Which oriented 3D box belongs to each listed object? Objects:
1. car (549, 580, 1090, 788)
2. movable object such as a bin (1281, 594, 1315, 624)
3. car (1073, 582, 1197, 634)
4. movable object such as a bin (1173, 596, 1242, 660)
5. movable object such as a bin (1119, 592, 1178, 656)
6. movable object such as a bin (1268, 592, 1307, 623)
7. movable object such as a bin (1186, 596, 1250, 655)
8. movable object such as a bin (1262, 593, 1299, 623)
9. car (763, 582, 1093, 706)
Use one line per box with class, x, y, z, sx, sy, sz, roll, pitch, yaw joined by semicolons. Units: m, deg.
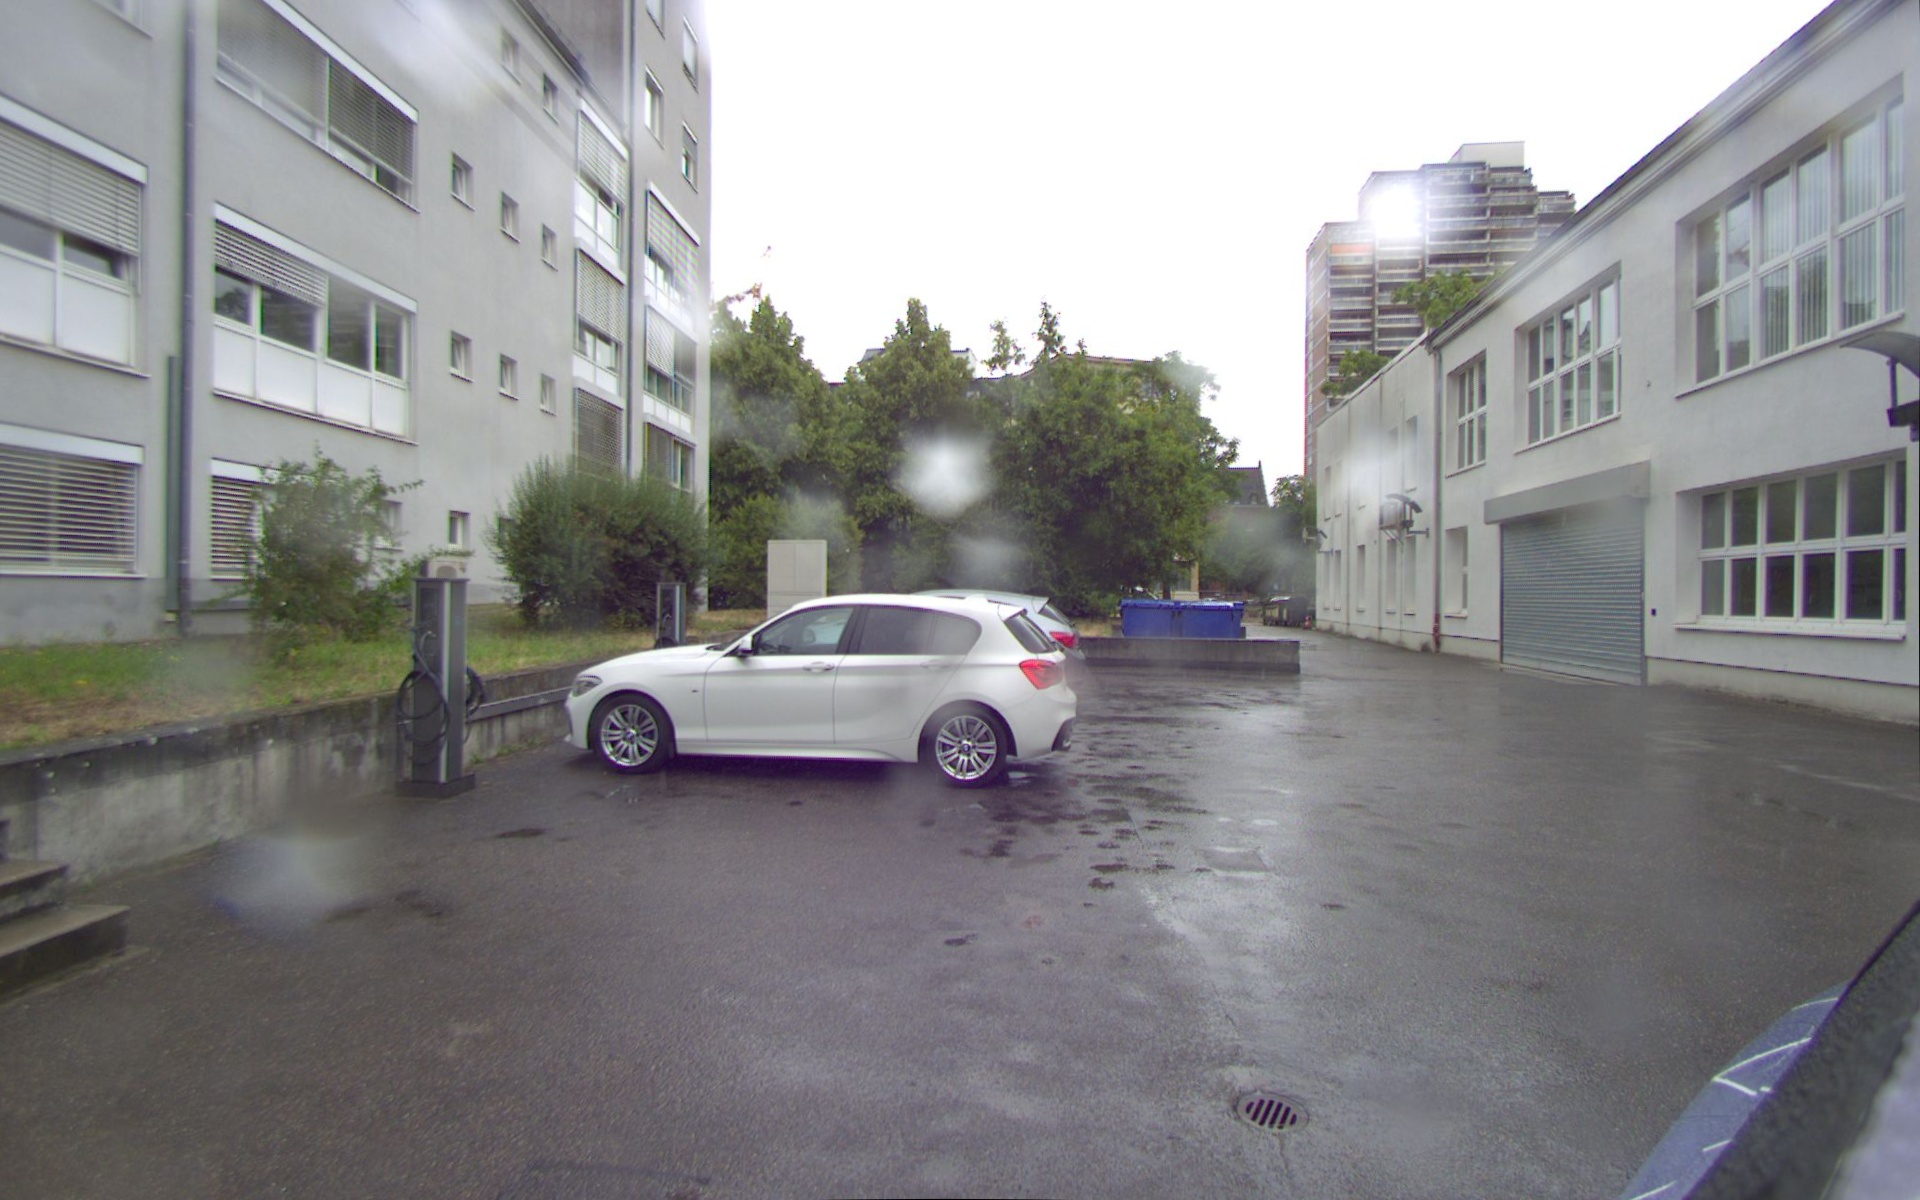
car;-1.030;0.618;8.632;4.146;1.508;1.997;0;0;5
movable object such as a bin;15.867;0.420;47.512;1.167;1.392;1.312;-1;-2;4
car;6.822;0.355;39.639;4.623;1.906;2.115;-1;-3;11
movable object such as a bin;5.562;0.635;22.911;1.292;1.375;1.900;-1;-2;8
movable object such as a bin;4.278;0.558;23.115;1.213;1.375;1.965;-1;-2;8
movable object such as a bin;15.865;0.393;49.092;1.465;1.467;1.312;-1;-2;4
movable object such as a bin;6.277;0.636;24.731;1.292;1.375;1.900;-1;-2;8
movable object such as a bin;15.961;0.399;50.437;1.465;1.467;1.312;-1;-2;4
car;-0.352;0.547;13.667;4.146;1.508;1.997;0;0;5
